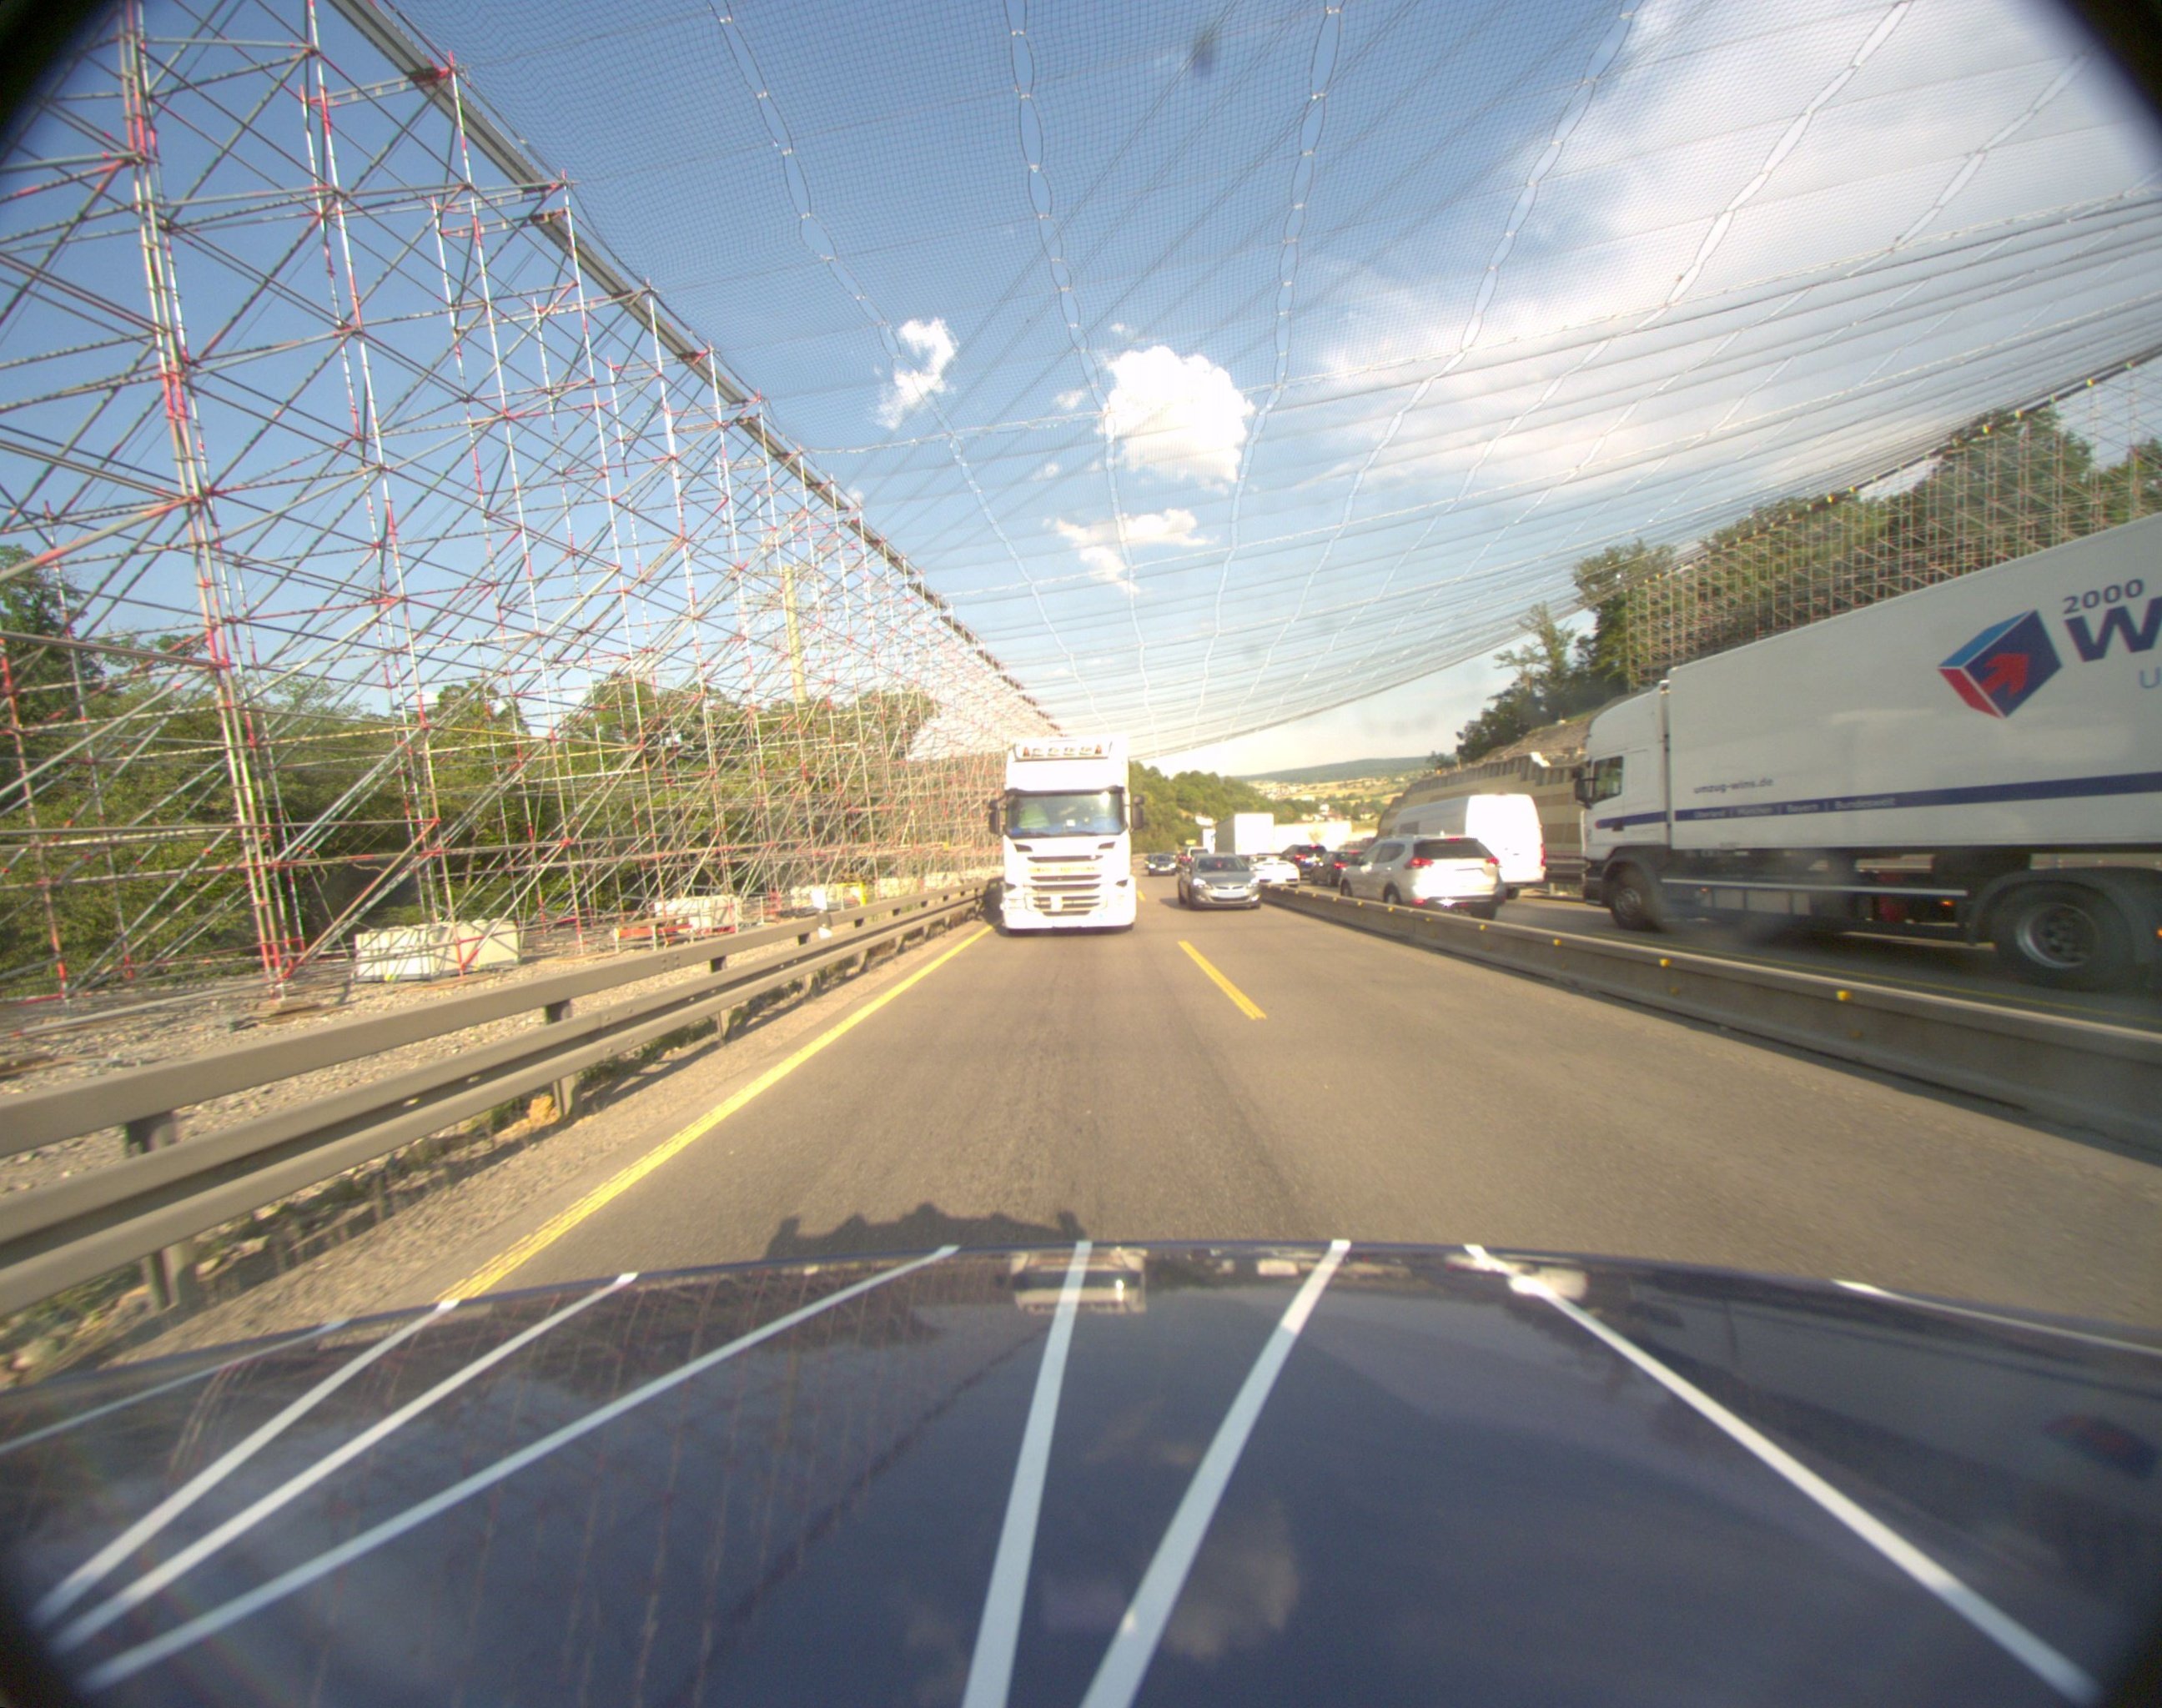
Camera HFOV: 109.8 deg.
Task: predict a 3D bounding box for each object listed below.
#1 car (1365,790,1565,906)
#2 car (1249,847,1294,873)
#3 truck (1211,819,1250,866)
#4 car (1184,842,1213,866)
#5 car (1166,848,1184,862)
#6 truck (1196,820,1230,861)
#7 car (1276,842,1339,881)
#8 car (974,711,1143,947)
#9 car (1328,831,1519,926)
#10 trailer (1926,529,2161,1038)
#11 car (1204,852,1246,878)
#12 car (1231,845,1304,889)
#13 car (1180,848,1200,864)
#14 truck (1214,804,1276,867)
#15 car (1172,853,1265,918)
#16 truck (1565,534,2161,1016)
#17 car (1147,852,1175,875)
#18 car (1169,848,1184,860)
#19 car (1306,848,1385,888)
[{"bbox_3d":[10.496,-0.165,21.675,2.247,2.697,7.082,-2,1,2],"label":"car"},{"bbox_3d":[11.908,0.333,47.756,1.796,1.531,4.910,-2,1,3],"label":"car"},{"bbox_3d":[13.032,-0.990,66.514,2.521,3.885,6.050,-2,1,4],"label":"truck"},{"bbox_3d":[9.771,-0.026,63.545,1.812,1.858,5.282,-2,1,3],"label":"car"},{"bbox_3d":[11.602,0.097,94.418,1.939,1.525,4.646,-2,1,4],"label":"car"},{"bbox_3d":[16.183,-1.582,94.526,2.993,4.532,17.413,-2,1,6],"label":"truck"},{"bbox_3d":[11.015,0.322,37.353,1.828,1.717,4.937,-2,1,3],"label":"car"},{"bbox_3d":[-0.231,-0.464,17.628,2.858,4.092,8.281,-2,1,2],"label":"car"},{"bbox_3d":[6.554,0.400,15.138,1.813,1.559,4.365,-2,1,0],"label":"car"},{"bbox_3d":[9.871,-0.547,0.962,2.677,3.992,13.331,-2,1,0],"label":"trailer"},{"bbox_3d":[8.517,0.604,45.280,1.812,1.411,4.518,-2,1,3],"label":"car"},{"bbox_3d":[7.308,0.468,30.187,1.813,1.559,4.365,-2,1,0],"label":"car"},{"bbox_3d":[11.291,0.225,78.968,1.585,1.543,4.219,-2,1,3],"label":"car"},{"bbox_3d":[12.547,-1.340,59.417,2.727,4.202,14.171,-2,1,4],"label":"truck"},{"bbox_3d":[3.563,0.749,20.445,1.760,1.464,4.353,-2,1,1],"label":"car"},{"bbox_3d":[9.827,-0.699,9.738,2.637,3.887,7.204,-2,1,1],"label":"truck"},{"bbox_3d":[5.256,0.580,50.125,1.764,1.376,3.823,-2,1,5],"label":"car"},{"bbox_3d":[13.081,0.010,104.120,1.938,1.510,4.980,-2,1,7],"label":"car"},{"bbox_3d":[10.304,0.494,29.953,1.796,1.429,4.381,-2,1,3],"label":"car"}]
